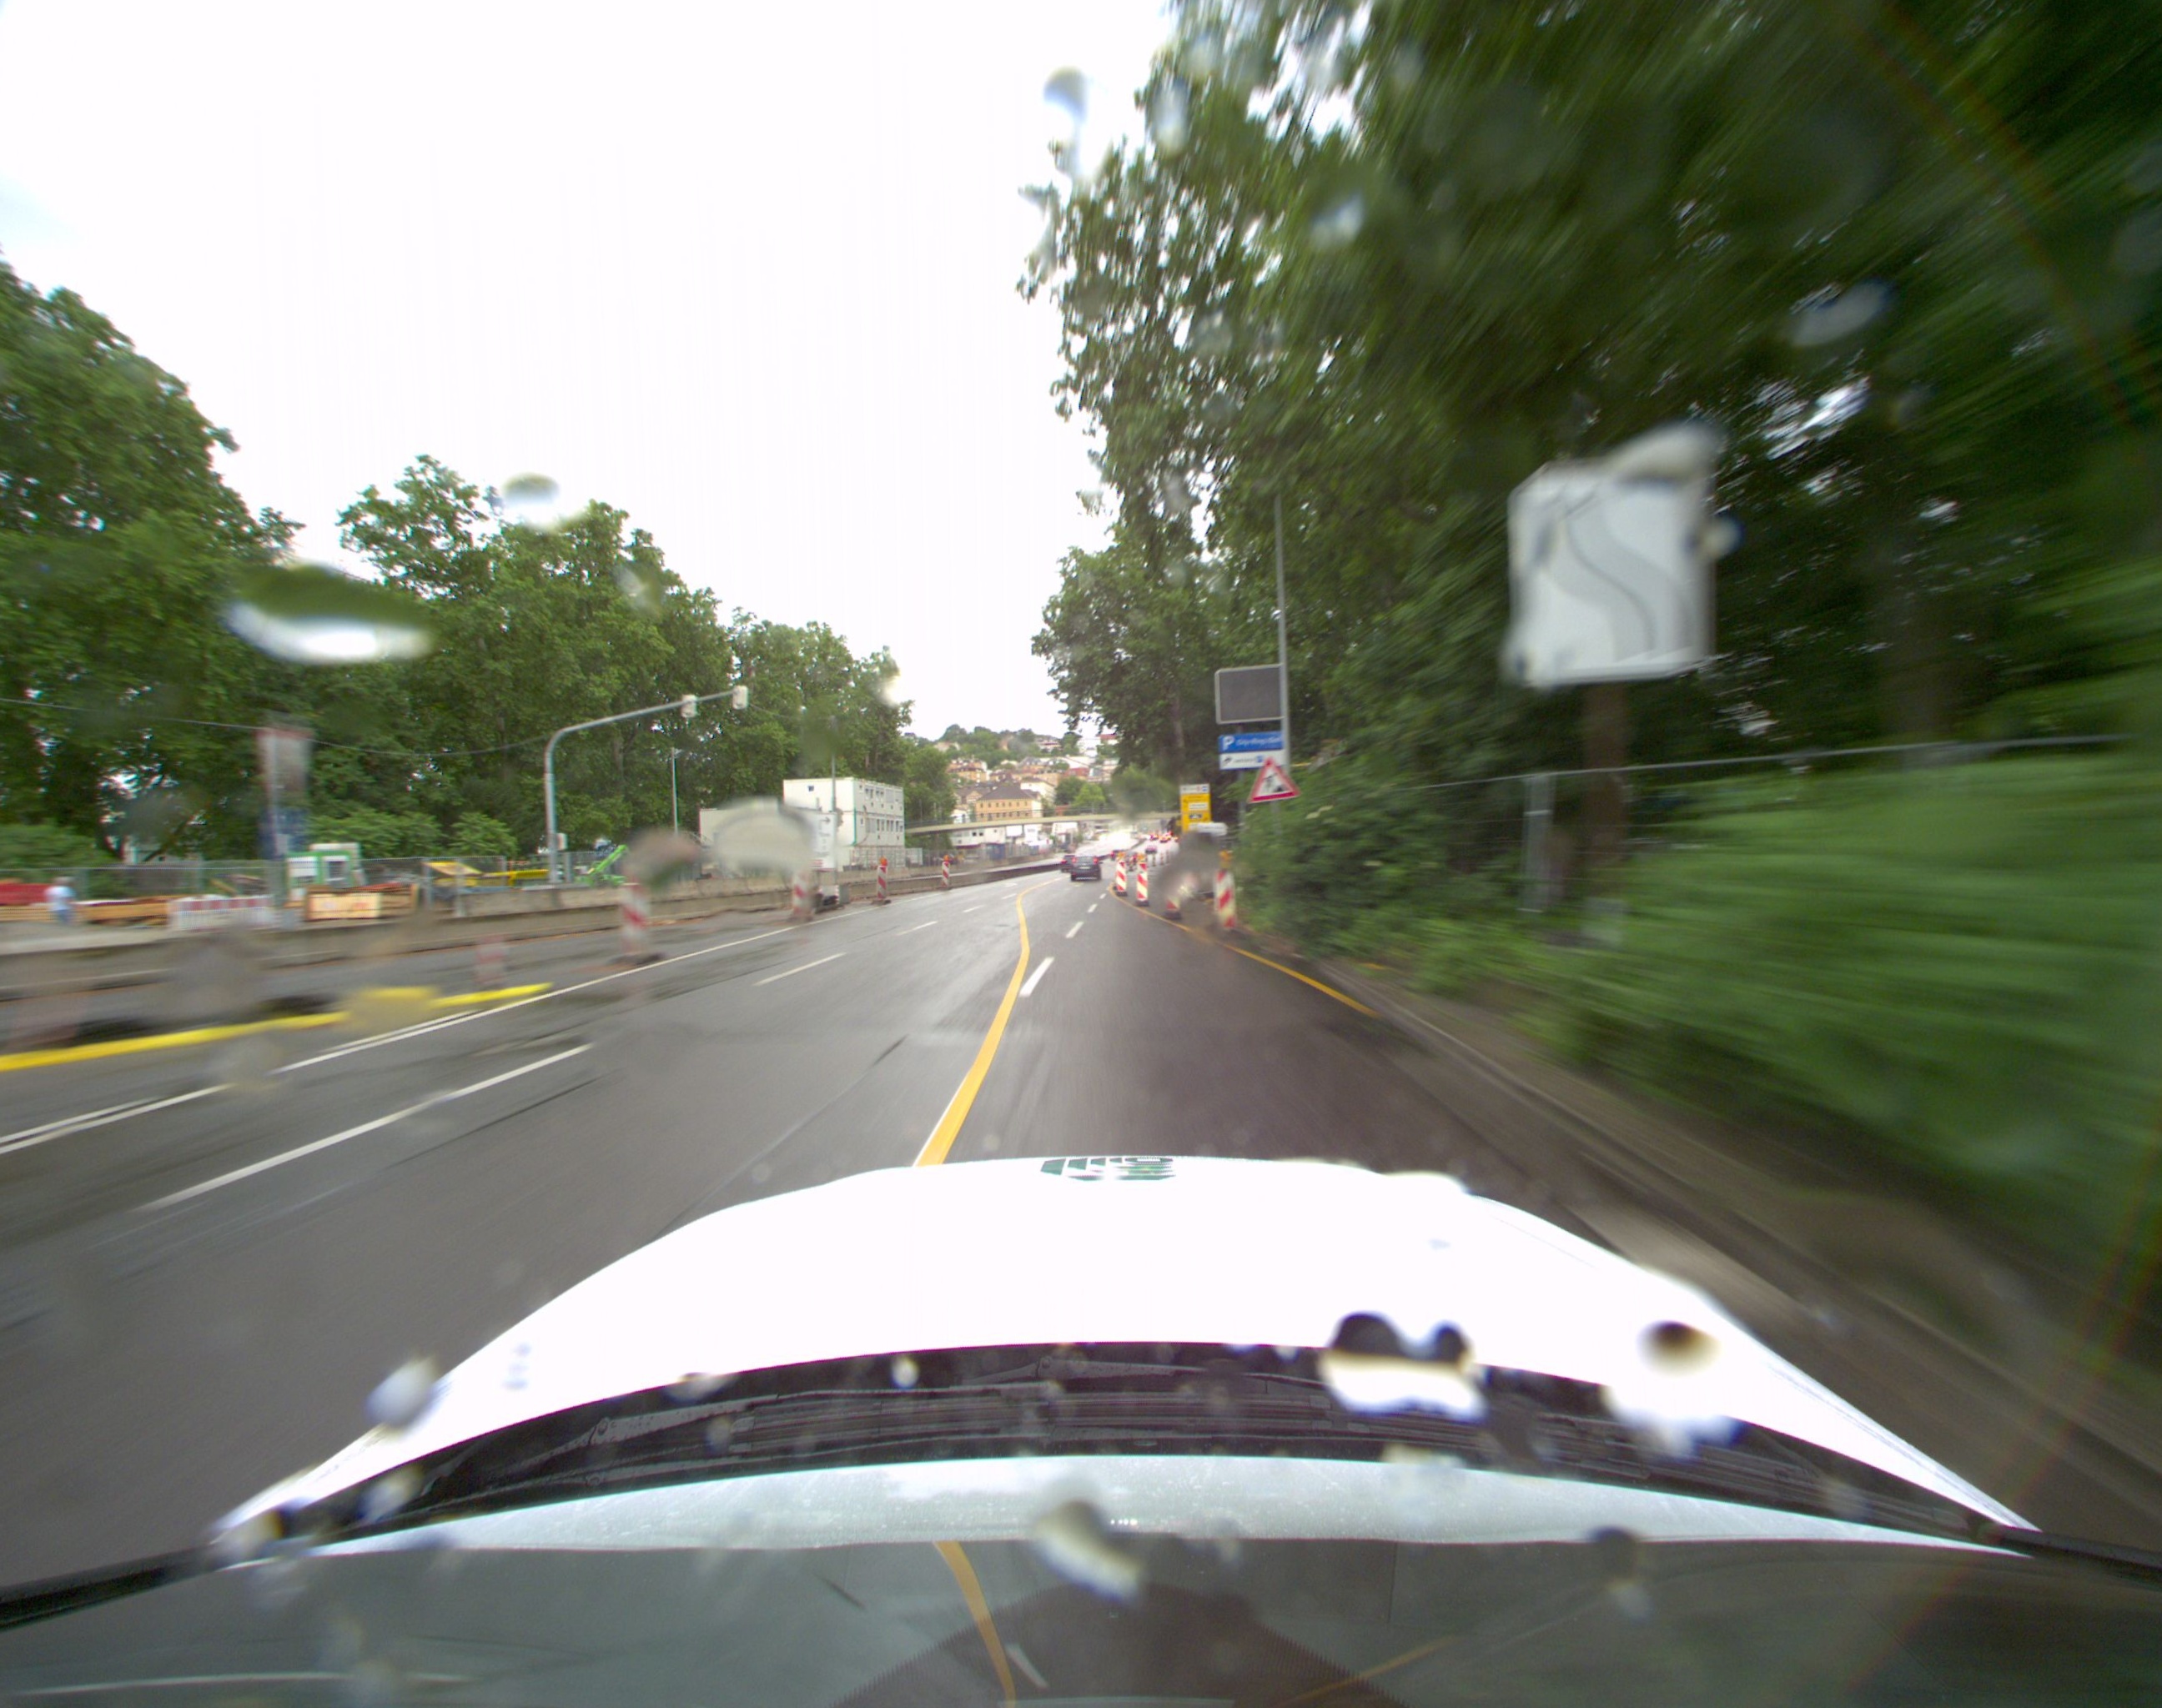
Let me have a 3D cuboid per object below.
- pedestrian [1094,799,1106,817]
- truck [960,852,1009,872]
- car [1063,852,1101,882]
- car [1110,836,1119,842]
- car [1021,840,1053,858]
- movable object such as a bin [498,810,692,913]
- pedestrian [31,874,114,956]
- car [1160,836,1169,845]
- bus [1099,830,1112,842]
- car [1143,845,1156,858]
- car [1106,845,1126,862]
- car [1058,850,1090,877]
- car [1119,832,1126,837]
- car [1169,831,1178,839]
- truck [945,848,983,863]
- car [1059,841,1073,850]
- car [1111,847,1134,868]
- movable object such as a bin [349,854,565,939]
[{"bbox_3d":[2.294,-5.611,99.587,1.139,2.060,1.064,-3,-1,15],"label":"pedestrian"},{"bbox_3d":[-13.421,1.136,113.602,6.257,2.452,2.693,-3,0,0],"label":"truck"},{"bbox_3d":[-0.011,0.702,45.871,1.809,1.527,3.994,-3,0,-4],"label":"car"},{"bbox_3d":[9.625,-4.395,232.129,2.071,1.630,4.862,-3,1,6],"label":"car"},{"bbox_3d":[-7.341,-0.868,136.207,1.974,2.875,6.091,-3,0,34],"label":"car"},{"bbox_3d":[-25.758,0.381,43.931,4.727,4.803,8.372,-3,0,5],"label":"movable object such as a bin"},{"bbox_3d":[-26.278,1.559,21.229,1.168,2.013,1.181,-1,0,31],"label":"pedestrian"},{"bbox_3d":[19.144,-3.109,187.111,1.984,1.869,4.006,-3,0,6],"label":"car"},{"bbox_3d":[7.077,-5.299,238.227,2.791,3.184,8.826,-3,1,7],"label":"bus"},{"bbox_3d":[11.294,-0.418,134.366,2.041,2.013,4.007,-3,0,6],"label":"car"},{"bbox_3d":[4.566,-0.094,105.299,1.981,2.013,4.011,-3,0,10],"label":"car"},{"bbox_3d":[-0.504,0.758,66.124,2.006,2.013,4.008,-3,0,7],"label":"car"},{"bbox_3d":[12.597,-5.987,247.972,1.699,1.489,3.459,-3,0,8],"label":"car"},{"bbox_3d":[22.297,-4.621,196.925,1.984,1.698,4.006,-3,0,5],"label":"car"},{"bbox_3d":[-17.446,0.199,122.002,5.226,2.013,2.165,-3,0,2],"label":"truck"},{"bbox_3d":[-2.997,-1.690,167.464,1.981,1.621,4.013,-2,2,11],"label":"car"},{"bbox_3d":[4.506,0.380,88.661,2.093,2.050,4.008,-3,0,7],"label":"car"},{"bbox_3d":[-26.356,1.676,34.910,3.913,3.128,6.398,-3,0,5],"label":"movable object such as a bin"}]
